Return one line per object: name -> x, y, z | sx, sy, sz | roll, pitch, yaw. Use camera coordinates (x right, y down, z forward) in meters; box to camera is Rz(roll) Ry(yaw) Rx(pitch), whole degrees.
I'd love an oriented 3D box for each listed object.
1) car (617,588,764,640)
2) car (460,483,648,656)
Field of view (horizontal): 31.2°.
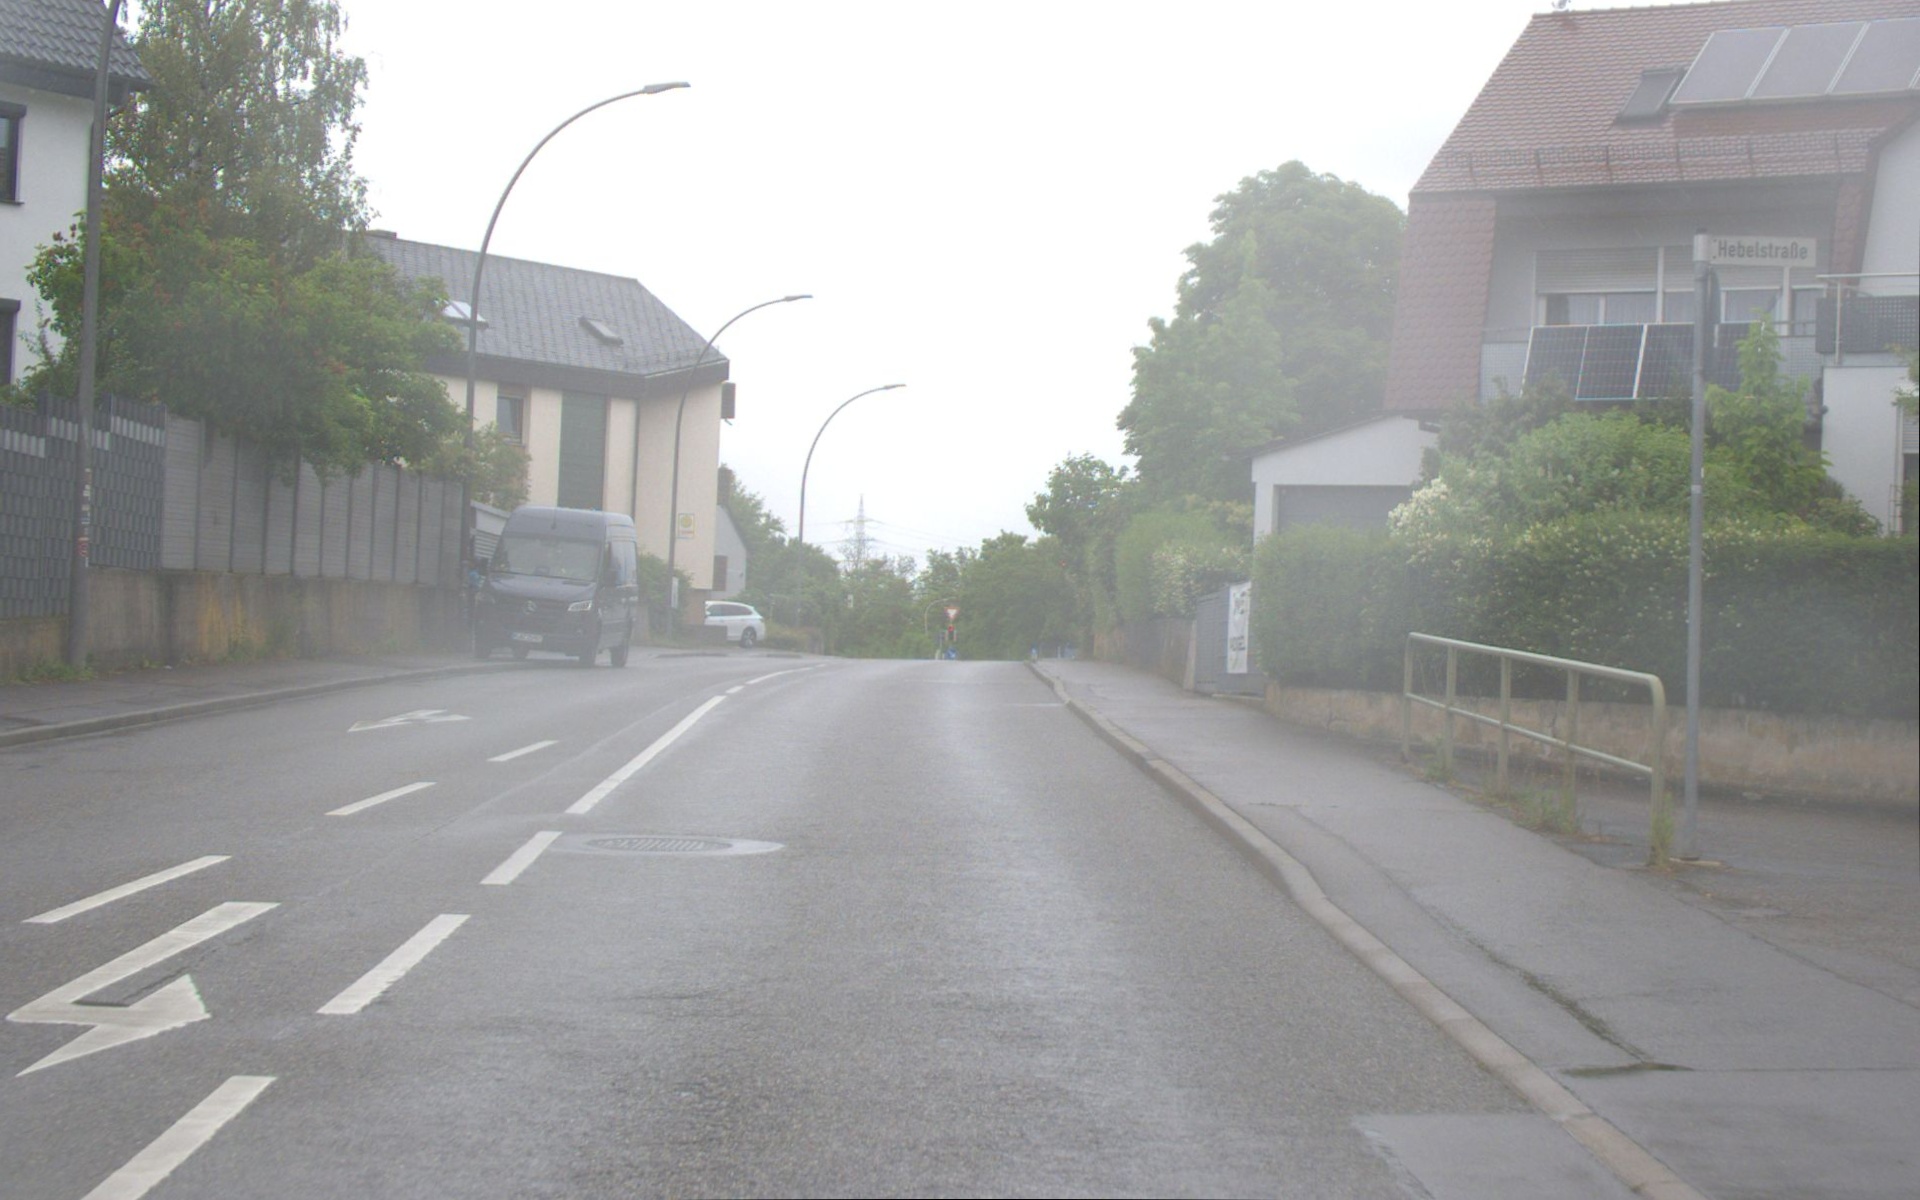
car -> -8.617, 0.460, 110.238 | 1.905, 1.472, 4.871 | 3, 0, 36
car -> -6.764, -0.477, 57.953 | 2.094, 2.640, 5.918 | 3, 0, 2
